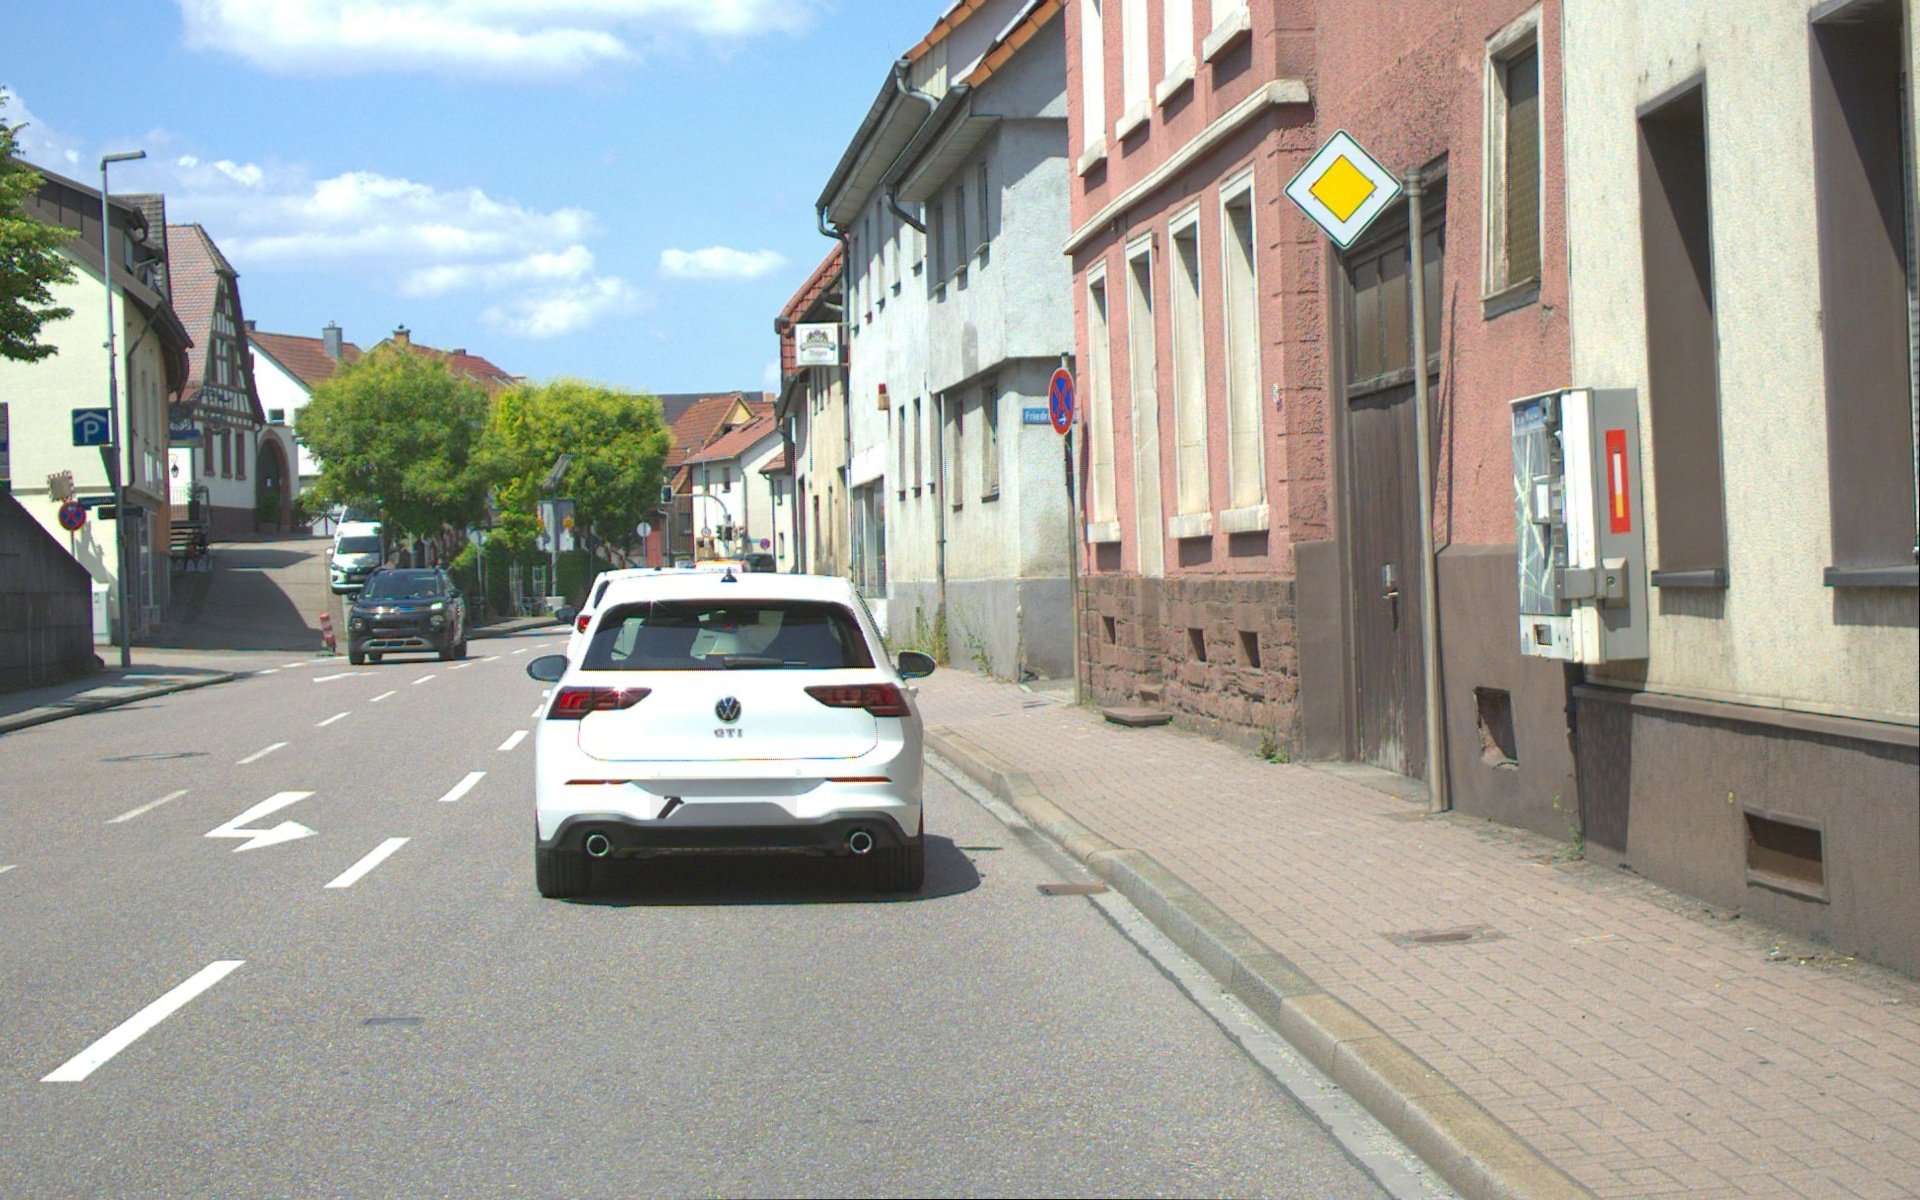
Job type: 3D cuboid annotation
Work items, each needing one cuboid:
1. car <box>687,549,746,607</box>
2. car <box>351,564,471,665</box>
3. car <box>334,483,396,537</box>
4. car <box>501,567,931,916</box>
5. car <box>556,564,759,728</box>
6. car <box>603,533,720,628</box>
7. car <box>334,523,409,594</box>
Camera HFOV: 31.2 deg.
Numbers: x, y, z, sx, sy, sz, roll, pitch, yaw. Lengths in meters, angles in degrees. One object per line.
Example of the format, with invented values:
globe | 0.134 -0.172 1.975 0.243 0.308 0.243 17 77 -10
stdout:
car | -7.700 -0.708 109.019 1.775 1.759 4.001 -1 1 -3
car | -9.396 0.224 59.066 1.669 1.652 4.018 -1 1 -4
car | -18.214 -2.769 105.297 1.576 1.357 3.857 -1 6 -6
car | -1.056 0.597 16.620 1.807 1.462 4.000 1 0 -1
car | -2.969 0.411 33.130 1.807 1.462 4.001 1 0 -7
car | -4.855 -0.312 55.664 1.807 1.462 4.001 1 0 -6
car | -15.889 -1.132 92.938 1.693 1.537 3.857 -1 6 -6
